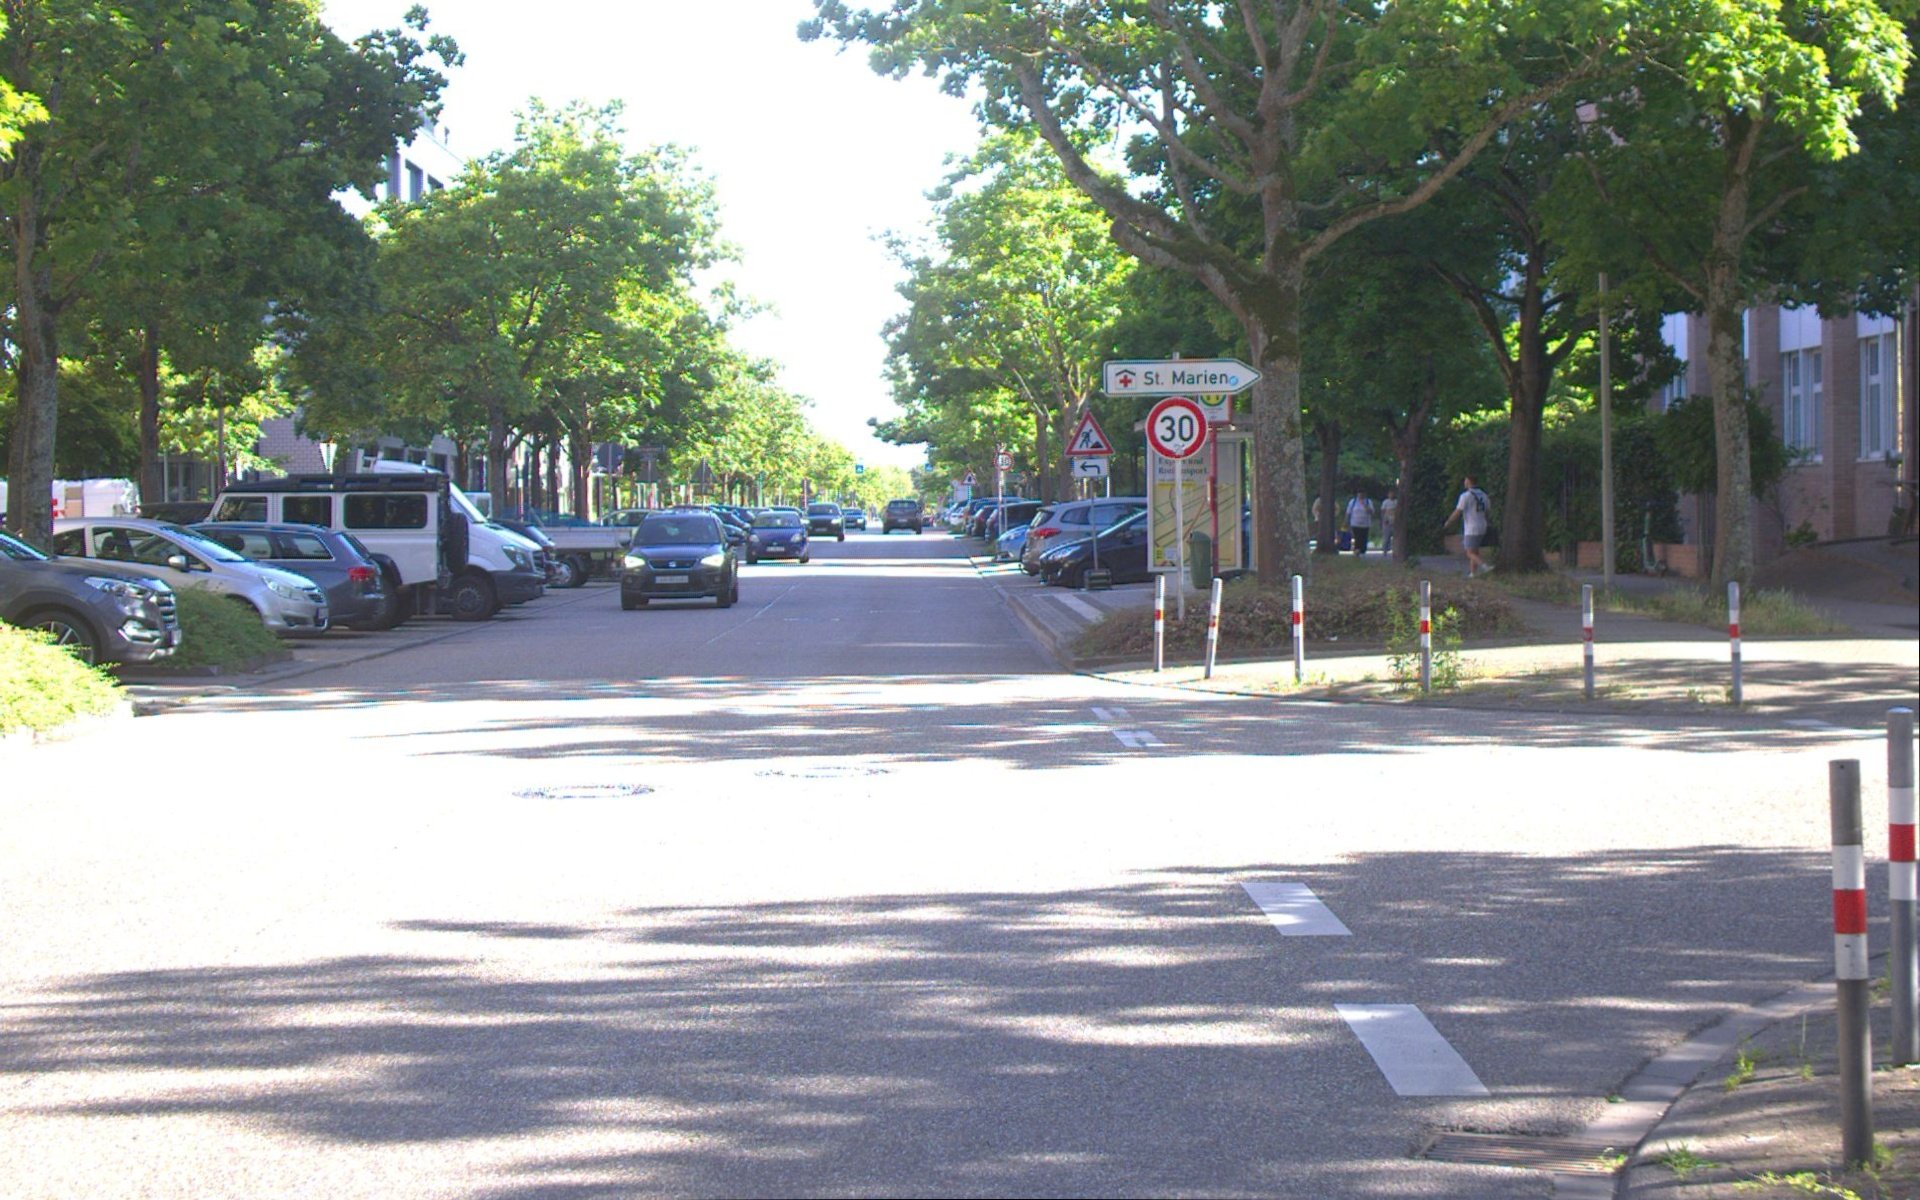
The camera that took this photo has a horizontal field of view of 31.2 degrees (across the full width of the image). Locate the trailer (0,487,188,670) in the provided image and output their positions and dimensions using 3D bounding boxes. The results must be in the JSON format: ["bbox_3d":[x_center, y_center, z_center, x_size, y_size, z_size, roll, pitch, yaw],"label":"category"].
[{"bbox_3d":[-9.198,-0.236,30.684,4.260,1.566,1.857,1,1,-4],"label":"trailer"}]

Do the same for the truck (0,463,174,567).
[{"bbox_3d":[-24.397,-2.271,92.032,6.103,2.695,2.578,-1,2,-2],"label":"truck"}]

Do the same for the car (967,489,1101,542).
[{"bbox_3d":[2.436,-2.813,114.084,4.267,1.628,1.858,-1,2,-3],"label":"car"}]

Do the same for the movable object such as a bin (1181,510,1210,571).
[{"bbox_3d":[2.985,-0.759,43.609,0.298,0.751,0.467,-3,1,0],"label":"movable object such as a bin"}]

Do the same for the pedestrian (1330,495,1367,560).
[{"bbox_3d":[8.751,-1.633,77.400,0.700,1.453,0.716,-1,2,-3],"label":"pedestrian"}]

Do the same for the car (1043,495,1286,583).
[{"bbox_3d":[3.439,-1.048,58.220,3.934,1.434,1.775,0,2,-2],"label":"car"}]

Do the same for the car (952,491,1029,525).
[{"bbox_3d":[1.626,-4.959,185.784,3.986,1.786,2.000,-1,2,-5],"label":"car"}]

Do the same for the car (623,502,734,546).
[{"bbox_3d":[-9.710,-2.626,118.739,3.732,1.459,1.677,0,2,-1],"label":"car"}]

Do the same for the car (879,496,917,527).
[{"bbox_3d":[-3.227,-4.625,179.732,1.933,1.592,4.367,-1,2,-1],"label":"car"}]

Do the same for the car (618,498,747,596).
[{"bbox_3d":[-4.451,-0.882,55.611,1.779,1.506,4.000,0,2,-1],"label":"car"}]

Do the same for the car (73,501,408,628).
[{"bbox_3d":[-8.962,-0.463,43.009,3.778,1.487,1.833,1,2,1],"label":"car"}]

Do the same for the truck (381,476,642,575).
[{"bbox_3d":[-9.139,-1.535,70.334,4.985,1.952,2.138,0,2,2],"label":"truck"}]

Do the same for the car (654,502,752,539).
[{"bbox_3d":[-10.469,-3.253,140.099,3.892,1.459,1.858,0,2,-1],"label":"car"}]

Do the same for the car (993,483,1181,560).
[{"bbox_3d":[3.067,-1.920,83.958,4.405,1.612,1.912,-3,2,-1],"label":"car"}]

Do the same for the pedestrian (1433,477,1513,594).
[{"bbox_3d":[7.808,-0.983,52.317,0.917,1.705,0.698,-4,2,-14],"label":"pedestrian"}]

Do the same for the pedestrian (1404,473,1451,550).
[{"bbox_3d":[10.534,-1.998,77.524,0.695,1.705,0.921,-4,2,-11],"label":"pedestrian"}]

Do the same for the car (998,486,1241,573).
[{"bbox_3d":[3.006,-1.352,65.391,4.351,1.592,1.940,-1,2,-7],"label":"car"}]

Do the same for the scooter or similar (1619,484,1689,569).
[{"bbox_3d":[10.932,-1.160,54.185,0.549,1.321,1.806,1,1,-6],"label":"scooter or similar"}]

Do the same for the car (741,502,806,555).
[{"bbox_3d":[-5.212,-2.016,96.434,1.643,1.415,4.001,-1,2,-1],"label":"car"}]

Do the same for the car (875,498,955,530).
[{"bbox_3d":[-2.322,-4.438,177.855,3.986,1.619,2.000,-1,2,-5],"label":"car"}]

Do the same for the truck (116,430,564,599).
[{"bbox_3d":[-9.143,-1.268,51.098,6.232,2.413,2.187,0,1,0],"label":"truck"}]

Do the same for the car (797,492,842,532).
[{"bbox_3d":[-6.082,-3.800,148.615,1.891,1.678,4.353,-1,2,-3],"label":"car"}]

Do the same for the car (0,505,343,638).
[{"bbox_3d":[-9.311,-0.355,40.198,3.835,1.456,1.732,1,2,3],"label":"car"}]

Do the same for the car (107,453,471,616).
[{"bbox_3d":[-8.887,-0.869,45.817,4.481,2.044,2.000,1,1,-2],"label":"car"}]
